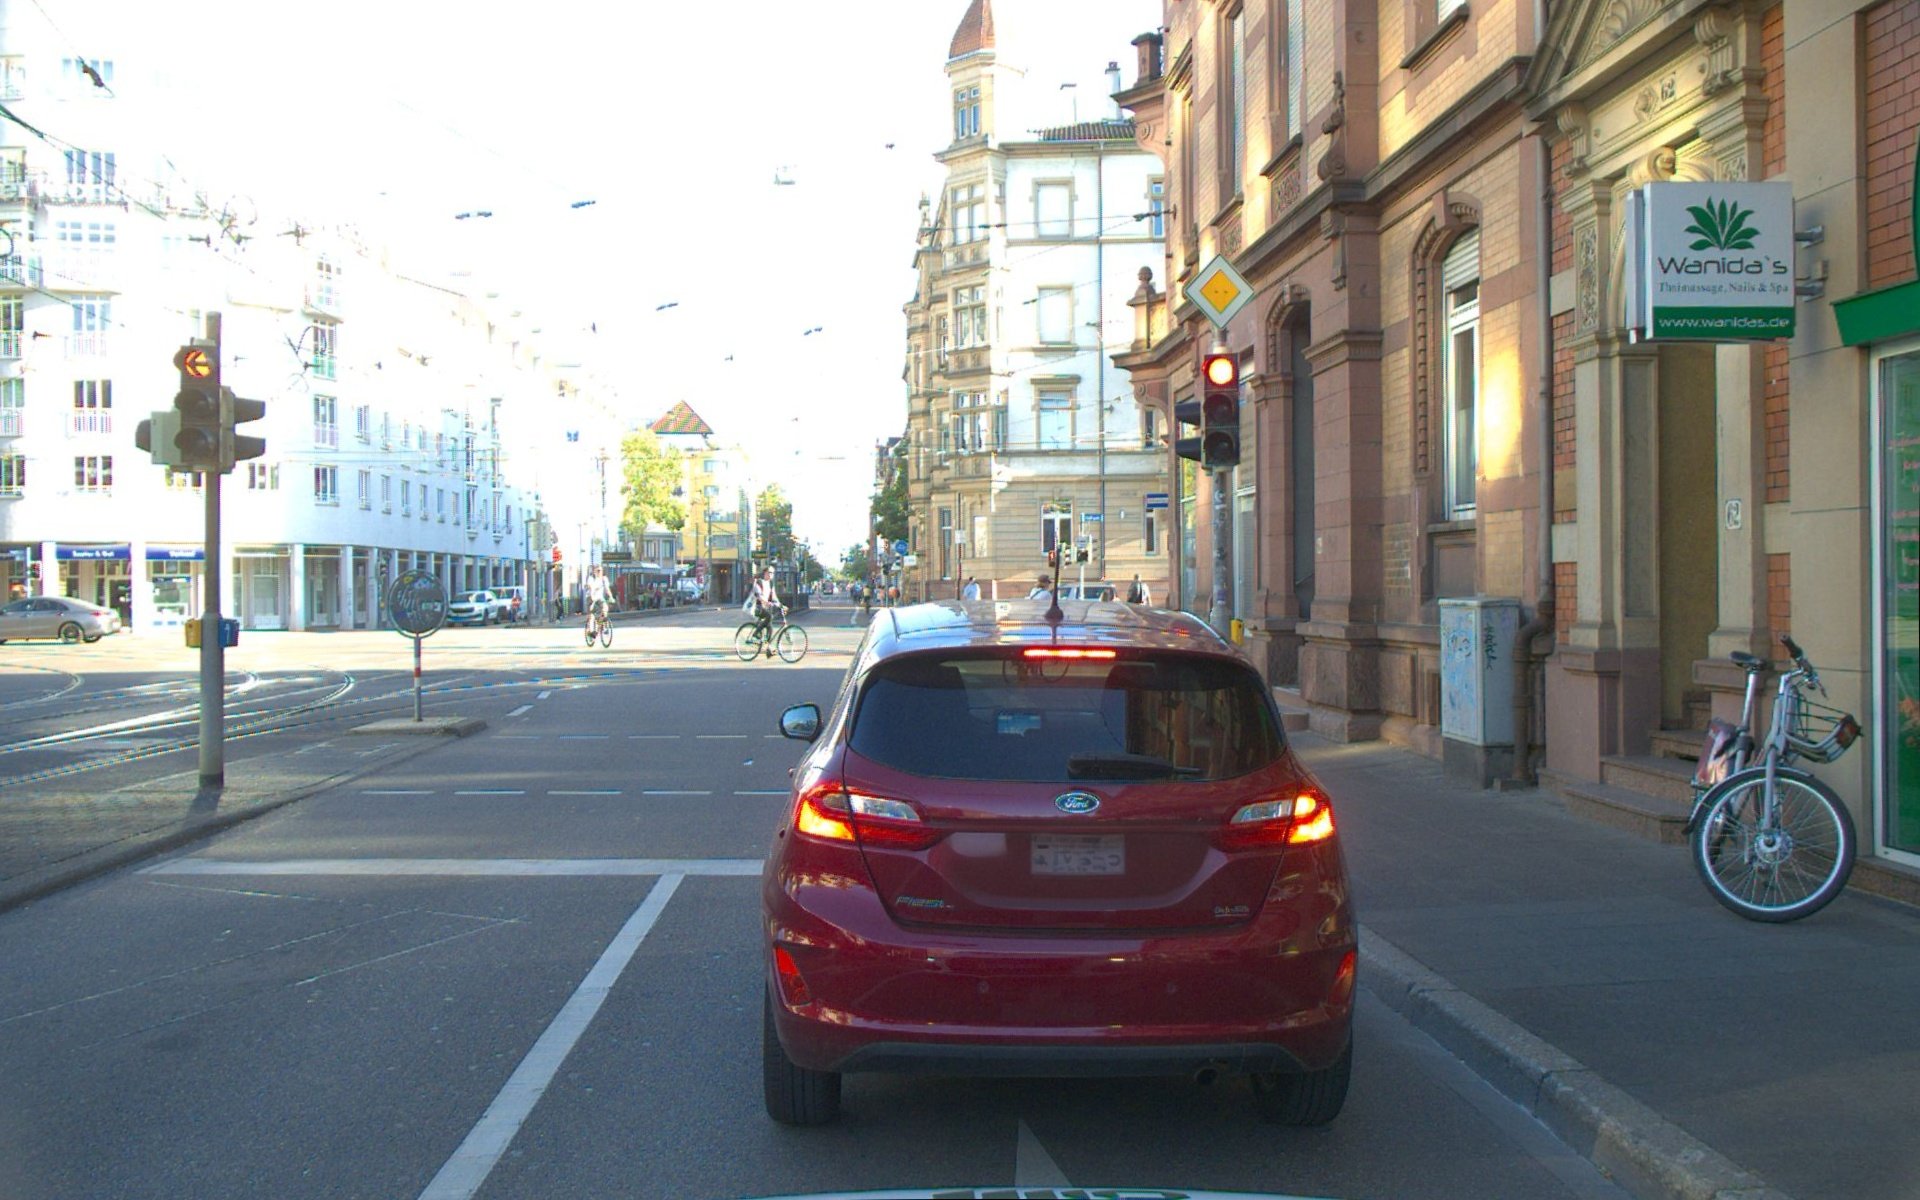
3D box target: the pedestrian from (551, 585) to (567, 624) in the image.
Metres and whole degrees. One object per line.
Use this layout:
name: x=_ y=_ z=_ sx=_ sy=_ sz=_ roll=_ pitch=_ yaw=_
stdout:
pedestrian: x=-17.800 y=0.193 z=73.417 sx=0.513 sy=1.711 sz=0.486 roll=-1 pitch=0 yaw=3

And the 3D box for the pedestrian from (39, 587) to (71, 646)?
pedestrian: x=-31.885 y=0.570 z=58.274 sx=0.934 sy=2.049 sz=0.930 roll=-1 pitch=0 yaw=-31

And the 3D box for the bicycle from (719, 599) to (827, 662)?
bicycle: x=-3.615 y=0.585 z=31.960 sx=2.006 sy=1.167 sz=0.808 roll=-1 pitch=0 yaw=32

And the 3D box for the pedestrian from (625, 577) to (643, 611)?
pedestrian: x=-19.777 y=-0.375 z=100.282 sx=0.937 sy=2.049 sz=1.048 roll=-1 pitch=0 yaw=-4

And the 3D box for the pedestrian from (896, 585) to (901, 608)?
pedestrian: x=-4.577 y=-0.285 z=123.083 sx=0.405 sy=1.710 sz=0.484 roll=-1 pitch=0 yaw=-1

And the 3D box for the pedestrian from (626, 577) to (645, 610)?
pedestrian: x=-20.155 y=-0.401 z=102.686 sx=1.025 sy=2.049 sz=0.958 roll=-1 pitch=0 yaw=-6

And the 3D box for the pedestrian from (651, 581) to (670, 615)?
pedestrian: x=-18.619 y=-0.125 z=102.804 sx=1.025 sy=2.049 sz=0.958 roll=-1 pitch=0 yaw=-6

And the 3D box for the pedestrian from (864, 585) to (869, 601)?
pedestrian: x=-11.293 y=-0.806 z=200.382 sx=0.565 sy=1.920 sz=0.630 roll=-1 pitch=0 yaw=-3

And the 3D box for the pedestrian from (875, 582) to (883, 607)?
pedestrian: x=-6.733 y=-0.483 z=137.364 sx=0.565 sy=2.049 sz=0.631 roll=-1 pitch=0 yaw=2

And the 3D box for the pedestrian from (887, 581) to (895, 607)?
pedestrian: x=-5.549 y=-0.477 z=132.856 sx=0.565 sy=2.049 sz=0.631 roll=-1 pitch=0 yaw=2

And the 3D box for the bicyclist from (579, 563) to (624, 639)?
bicyclist: x=-8.933 y=0.028 z=41.179 sx=0.800 sy=1.853 sz=0.982 roll=-1 pitch=0 yaw=-33

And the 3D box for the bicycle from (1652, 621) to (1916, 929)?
bicycle: x=3.641 y=0.720 z=7.454 sx=0.700 sy=1.172 sz=1.656 roll=-2 pitch=0 yaw=15

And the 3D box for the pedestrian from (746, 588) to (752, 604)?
pedestrian: x=-20.443 y=-0.368 z=160.410 sx=0.513 sy=1.514 sz=0.582 roll=-1 pitch=0 yaw=-2

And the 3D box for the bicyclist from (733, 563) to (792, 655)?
bicyclist: x=-3.824 y=0.177 z=32.080 sx=0.777 sy=1.756 sz=0.808 roll=-1 pitch=0 yaw=32

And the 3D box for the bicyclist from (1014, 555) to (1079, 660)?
bicyclist: x=1.399 y=0.115 z=26.596 sx=0.751 sy=1.655 sz=0.728 roll=0 pitch=0 yaw=38

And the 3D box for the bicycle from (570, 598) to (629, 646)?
bicycle: x=-9.020 y=0.533 z=41.293 sx=0.800 sy=1.167 sz=1.988 roll=-1 pitch=0 yaw=-32

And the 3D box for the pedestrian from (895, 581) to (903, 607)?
pedestrian: x=-4.958 y=-0.489 z=134.426 sx=0.565 sy=2.049 sz=0.631 roll=-1 pitch=0 yaw=2

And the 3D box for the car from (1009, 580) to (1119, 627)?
car: x=3.687 y=0.119 z=58.234 sx=3.813 sy=1.576 sz=1.455 roll=-1 pitch=0 yaw=5

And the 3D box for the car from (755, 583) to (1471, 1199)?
car: x=0.208 y=0.708 z=5.912 sx=1.720 sy=1.492 sz=3.941 roll=1 pitch=0 yaw=-5

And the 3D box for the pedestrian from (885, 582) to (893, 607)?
pedestrian: x=-5.911 y=-0.488 z=137.476 sx=0.565 sy=2.049 sz=0.631 roll=-1 pitch=0 yaw=2

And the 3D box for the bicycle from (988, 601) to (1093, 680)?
bicycle: x=1.306 y=0.632 z=26.458 sx=0.616 sy=1.198 sz=2.015 roll=0 pitch=0 yaw=38

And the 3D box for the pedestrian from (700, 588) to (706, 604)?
pedestrian: x=-25.266 y=-0.391 z=162.499 sx=0.569 sy=1.514 sz=0.525 roll=-1 pitch=0 yaw=-5

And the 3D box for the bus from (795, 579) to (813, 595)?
bus: x=-20.407 y=-1.710 z=216.610 sx=1.887 sy=2.049 sz=7.134 roll=-1 pitch=0 yaw=-2

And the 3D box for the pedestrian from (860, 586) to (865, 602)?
pedestrian: x=-12.008 y=-0.757 z=203.659 sx=0.565 sy=1.920 sz=0.669 roll=-1 pitch=0 yaw=-3

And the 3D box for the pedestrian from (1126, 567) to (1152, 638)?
pedestrian: x=4.588 y=0.070 z=42.305 sx=0.549 sy=1.786 sz=0.650 roll=-1 pitch=0 yaw=-1

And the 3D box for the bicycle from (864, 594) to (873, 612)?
bicycle: x=-5.670 y=0.174 z=102.601 sx=0.515 sy=1.108 sz=1.486 roll=-1 pitch=0 yaw=-1

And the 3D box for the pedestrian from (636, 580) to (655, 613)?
pedestrian: x=-19.862 y=-0.248 z=104.462 sx=1.025 sy=2.049 sz=0.958 roll=-1 pitch=0 yaw=-6

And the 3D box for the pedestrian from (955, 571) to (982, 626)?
pedestrian: x=0.320 y=-0.057 z=62.137 sx=0.647 sy=2.049 sz=0.749 roll=-1 pitch=0 yaw=-40

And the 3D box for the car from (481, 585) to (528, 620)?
car: x=-23.926 y=0.117 z=87.019 sx=1.667 sy=1.748 sz=3.561 roll=-1 pitch=0 yaw=-4

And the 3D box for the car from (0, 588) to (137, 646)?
car: x=-27.820 y=0.508 z=50.653 sx=4.367 sy=1.669 sz=1.698 roll=-1 pitch=0 yaw=-13

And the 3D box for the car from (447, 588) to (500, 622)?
car: x=-23.366 y=0.237 z=79.540 sx=1.667 sy=1.573 sz=3.459 roll=-1 pitch=0 yaw=-3

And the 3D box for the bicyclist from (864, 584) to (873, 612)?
bicyclist: x=-5.664 y=-0.119 z=102.460 sx=0.489 sy=1.705 sz=0.545 roll=-1 pitch=0 yaw=-2
